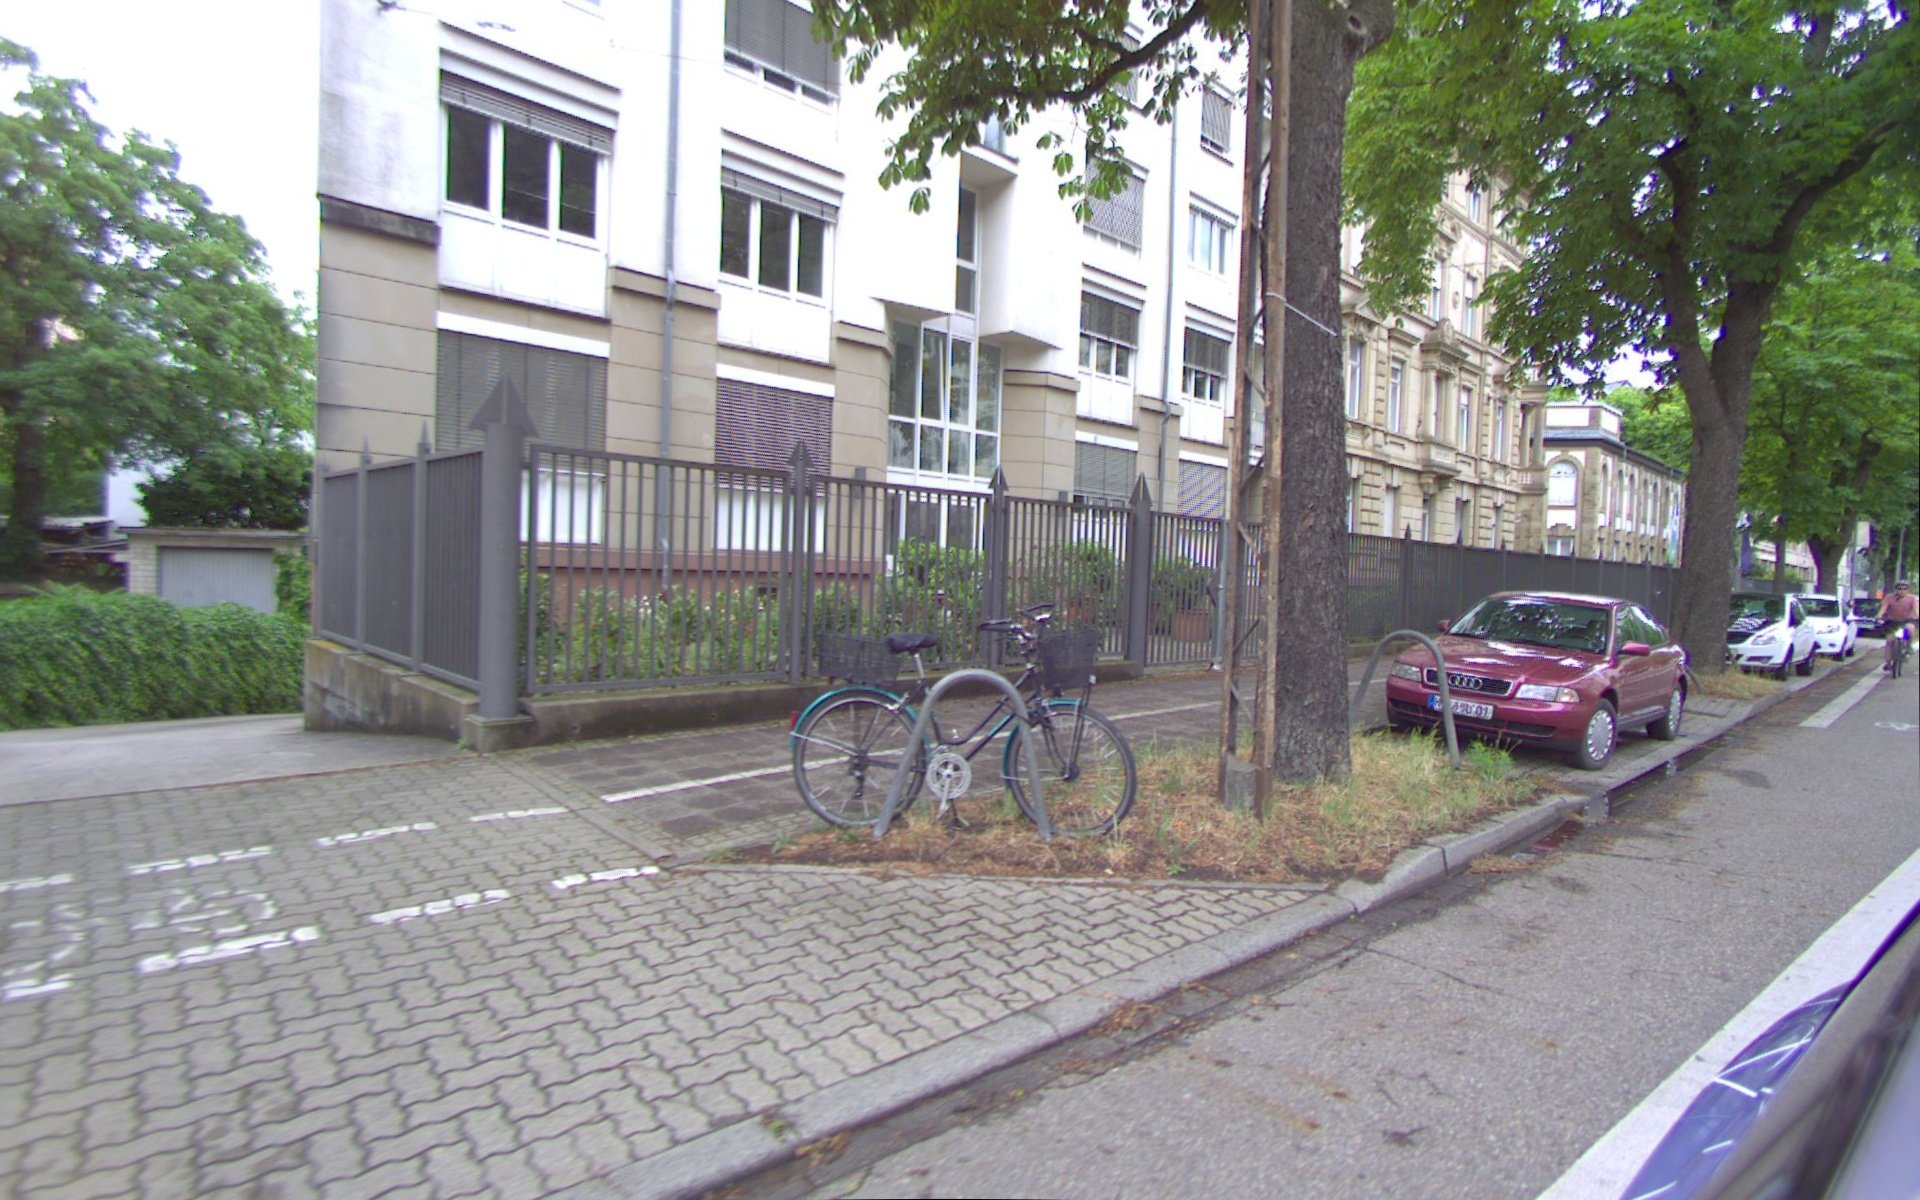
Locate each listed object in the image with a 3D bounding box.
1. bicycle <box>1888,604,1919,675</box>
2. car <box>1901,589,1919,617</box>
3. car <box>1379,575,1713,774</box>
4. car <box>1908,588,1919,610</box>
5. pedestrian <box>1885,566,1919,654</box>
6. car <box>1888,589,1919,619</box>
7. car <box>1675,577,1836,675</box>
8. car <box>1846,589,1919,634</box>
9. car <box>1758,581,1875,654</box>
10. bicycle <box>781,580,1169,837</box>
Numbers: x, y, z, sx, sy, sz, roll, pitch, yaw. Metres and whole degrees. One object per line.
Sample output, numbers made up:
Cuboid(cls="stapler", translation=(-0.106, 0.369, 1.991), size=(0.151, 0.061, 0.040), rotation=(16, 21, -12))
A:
Cuboid(cls="bicycle", translation=(17.530, 0.705, 18.687), size=(1.678, 1.219, 0.413), rotation=(0, 3, -44))
Cuboid(cls="car", translation=(54.159, 0.180, 56.875), size=(3.773, 1.441, 1.605), rotation=(0, 5, -44))
Cuboid(cls="car", translation=(5.758, 0.544, 9.704), size=(4.157, 1.415, 1.605), rotation=(0, 5, -44))
Cuboid(cls="car", translation=(62.747, -0.023, 65.587), size=(3.773, 1.386, 1.605), rotation=(0, 5, -44))
Cuboid(cls="pedestrian", translation=(17.490, 0.176, 18.553), size=(0.693, 1.569, 0.683), rotation=(0, 3, -43))
Cuboid(cls="car", translation=(48.910, 0.205, 51.918), size=(3.773, 1.386, 1.605), rotation=(0, 5, -44))
Cuboid(cls="car", translation=(14.146, 0.389, 17.923), size=(3.713, 1.452, 1.605), rotation=(0, 5, -43))
Cuboid(cls="car", translation=(33.200, 0.376, 36.390), size=(3.773, 1.386, 1.605), rotation=(0, 5, -44))
Cuboid(cls="car", translation=(20.049, 0.362, 23.635), size=(3.702, 1.452, 1.630), rotation=(0, 5, -44))
Cuboid(cls="bicycle", translation=(0.068, 0.517, 5.123), size=(1.869, 1.213, 0.433), rotation=(1, 2, 2))
